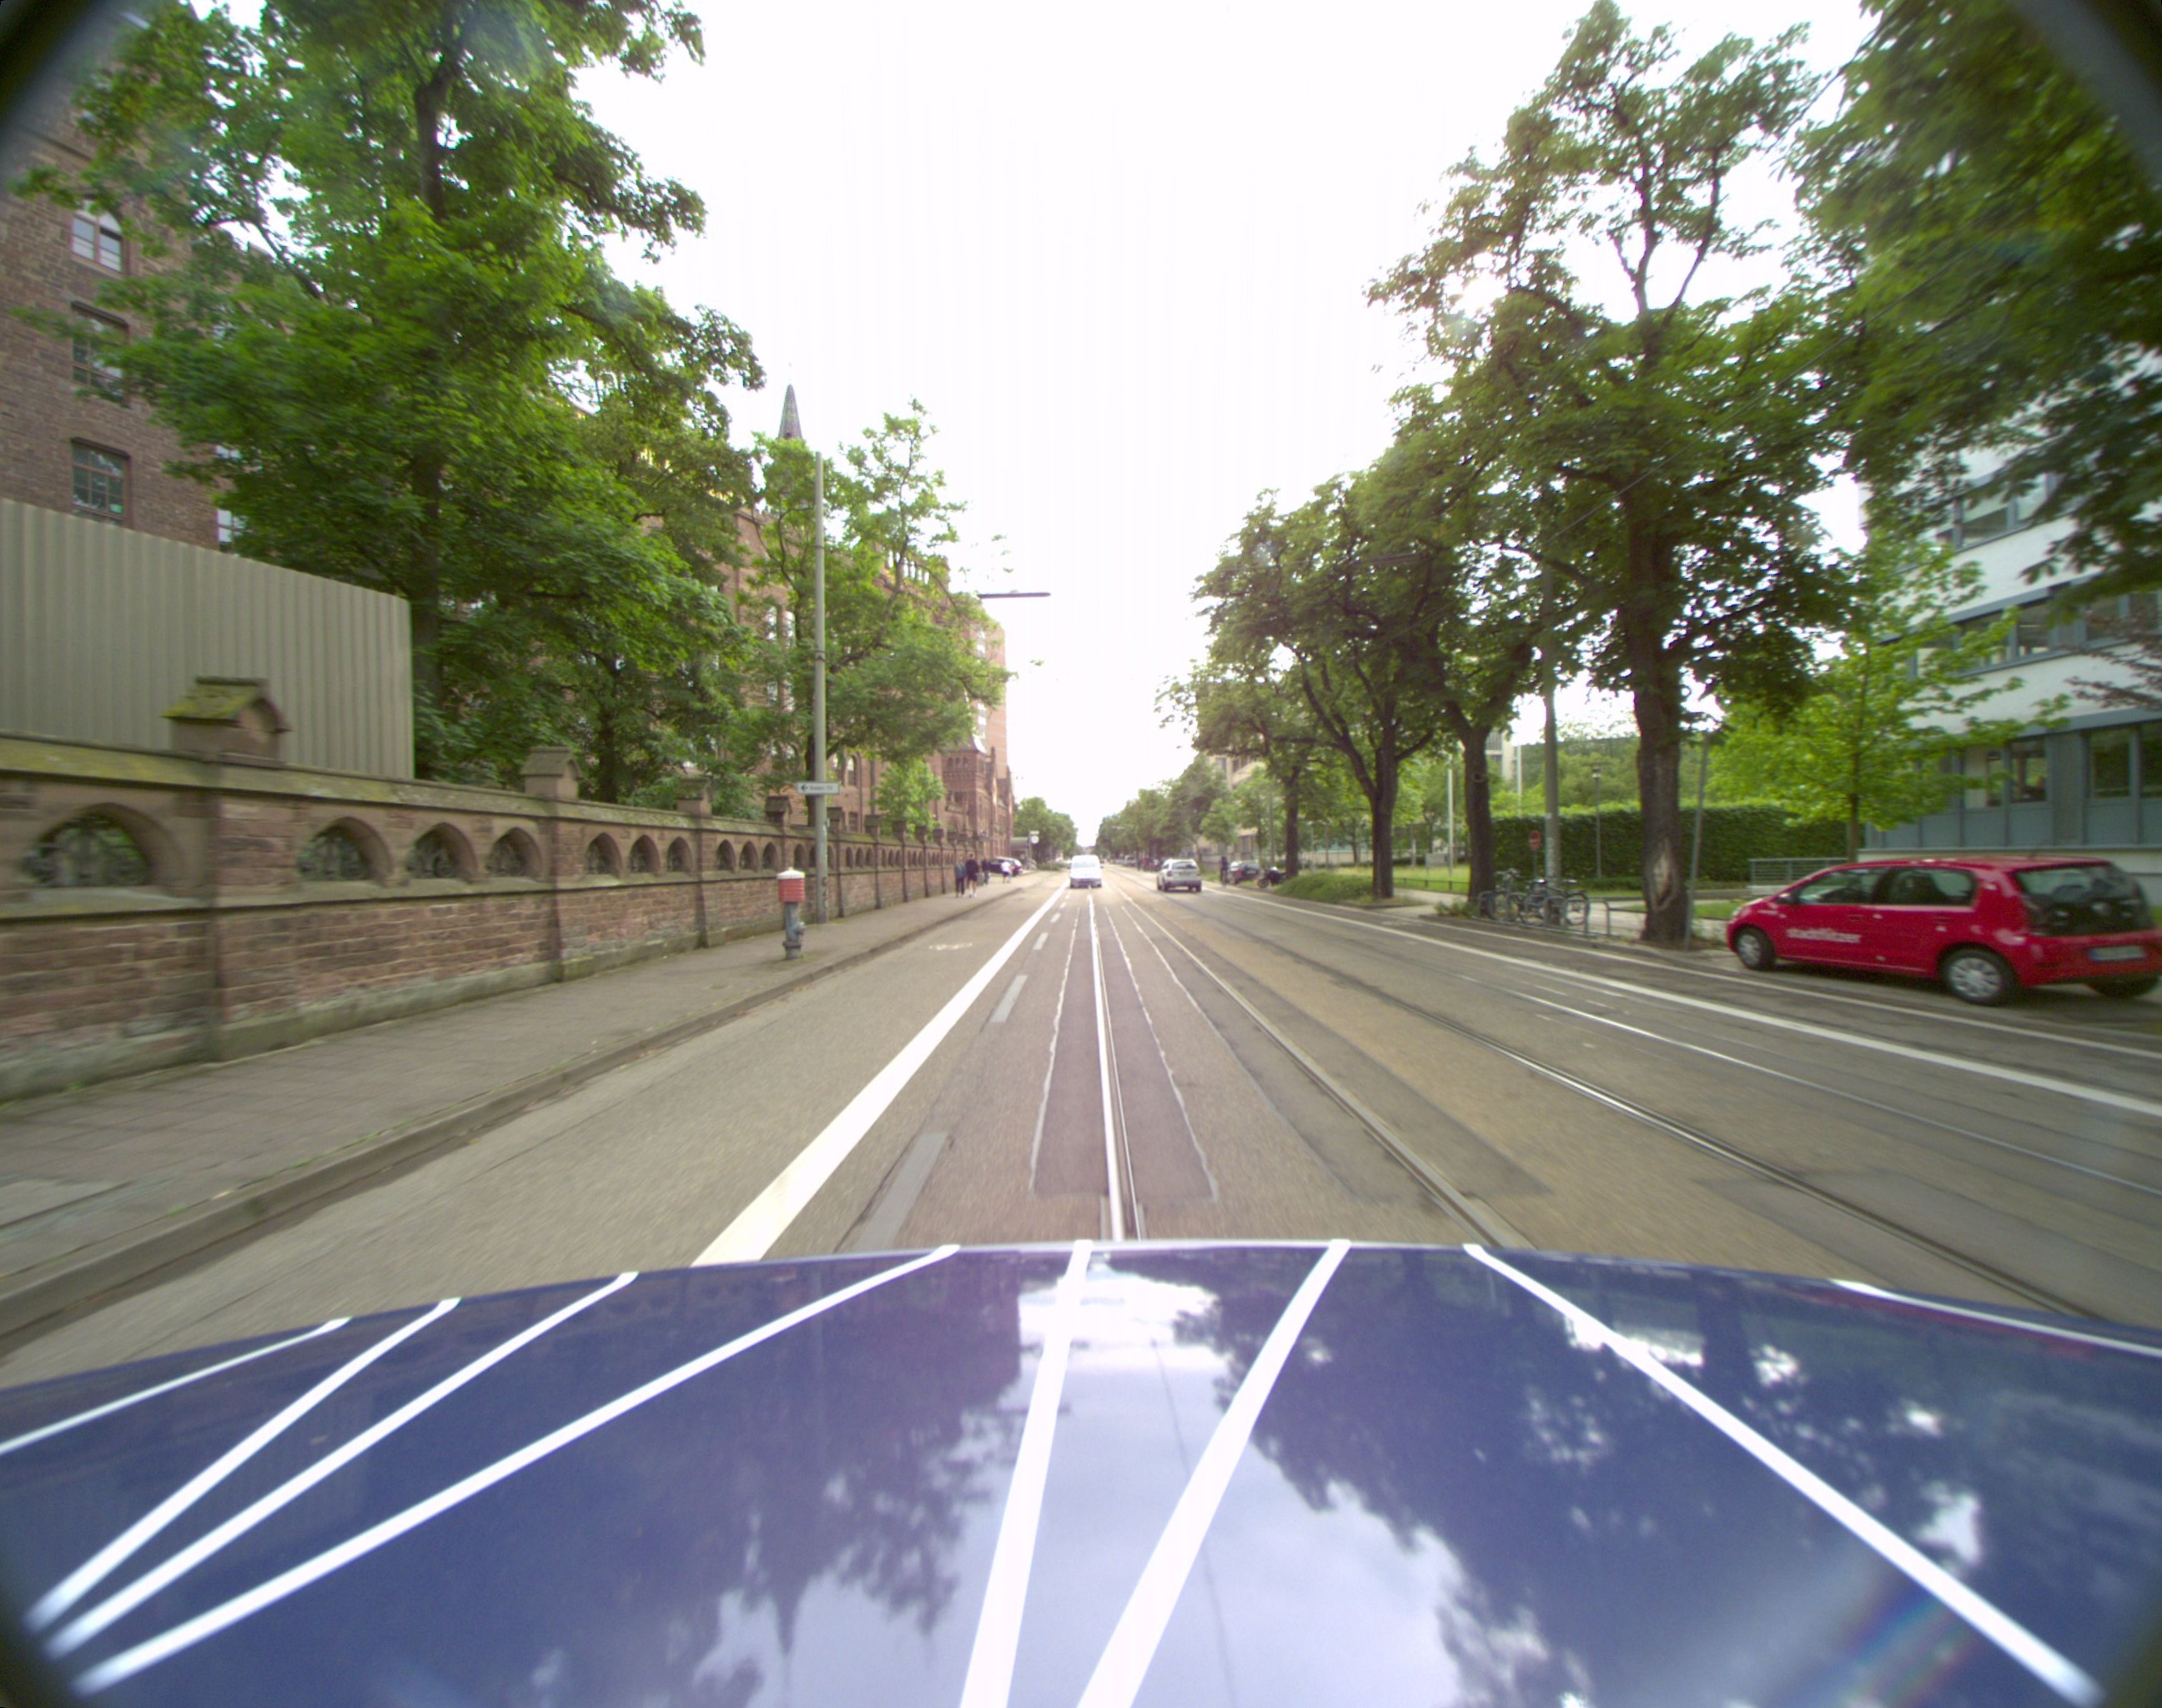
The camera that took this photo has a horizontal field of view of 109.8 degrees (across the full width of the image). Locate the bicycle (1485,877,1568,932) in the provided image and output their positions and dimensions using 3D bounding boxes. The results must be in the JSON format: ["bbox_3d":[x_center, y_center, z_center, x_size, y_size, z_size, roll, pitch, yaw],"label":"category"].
[{"bbox_3d":[9.957,1.118,17.025,1.473,1.134,0.617,-2,1,0],"label":"bicycle"}]

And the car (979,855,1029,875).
[{"bbox_3d":[-6.988,0.972,69.317,3.992,1.608,2.002,3,0,12],"label":"car"}]

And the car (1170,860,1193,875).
[{"bbox_3d":[10.300,1.345,78.300,1.849,1.424,3.951,-2,0,0],"label":"car"}]

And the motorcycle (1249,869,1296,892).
[{"bbox_3d":[9.511,1.308,37.841,2.128,1.096,0.776,-2,1,42],"label":"motorcycle"}]

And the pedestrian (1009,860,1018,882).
[{"bbox_3d":[-4.887,1.210,55.115,0.529,1.548,0.489,3,1,-2],"label":"pedestrian"}]

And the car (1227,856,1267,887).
[{"bbox_3d":[10.103,1.030,46.525,1.815,1.699,4.001,-2,0,4],"label":"car"}]

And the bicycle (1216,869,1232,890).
[{"bbox_3d":[7.819,1.389,41.589,0.636,1.044,1.994,-2,0,5],"label":"bicycle"}]

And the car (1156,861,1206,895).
[{"bbox_3d":[4.718,1.086,36.393,1.745,1.490,4.261,-1,0,-1],"label":"car"}]

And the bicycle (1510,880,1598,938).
[{"bbox_3d":[9.653,1.103,15.520,1.474,1.085,0.616,-2,1,-12],"label":"bicycle"}]

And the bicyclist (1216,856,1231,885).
[{"bbox_3d":[7.802,0.887,41.582,0.636,1.528,0.955,-2,1,5],"label":"bicyclist"}]

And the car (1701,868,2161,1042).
[{"bbox_3d":[9.668,0.962,8.879,1.632,1.439,3.756,-3,0,-3],"label":"car"}]

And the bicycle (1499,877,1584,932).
[{"bbox_3d":[10.003,1.082,16.519,1.473,1.134,0.617,0,1,0],"label":"bicycle"}]

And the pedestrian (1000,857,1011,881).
[{"bbox_3d":[-5.476,1.103,55.100,0.669,1.703,0.997,3,0,-2],"label":"pedestrian"}]

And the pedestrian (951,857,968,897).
[{"bbox_3d":[-5.060,0.936,31.687,0.559,1.645,0.771,1,0,-2],"label":"pedestrian"}]

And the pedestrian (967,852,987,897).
[{"bbox_3d":[-4.356,0.847,31.822,0.723,1.833,0.897,1,1,-2],"label":"pedestrian"}]

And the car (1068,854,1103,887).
[{"bbox_3d":[0.280,0.906,44.625,1.850,1.797,4.937,-2,0,1],"label":"car"}]
